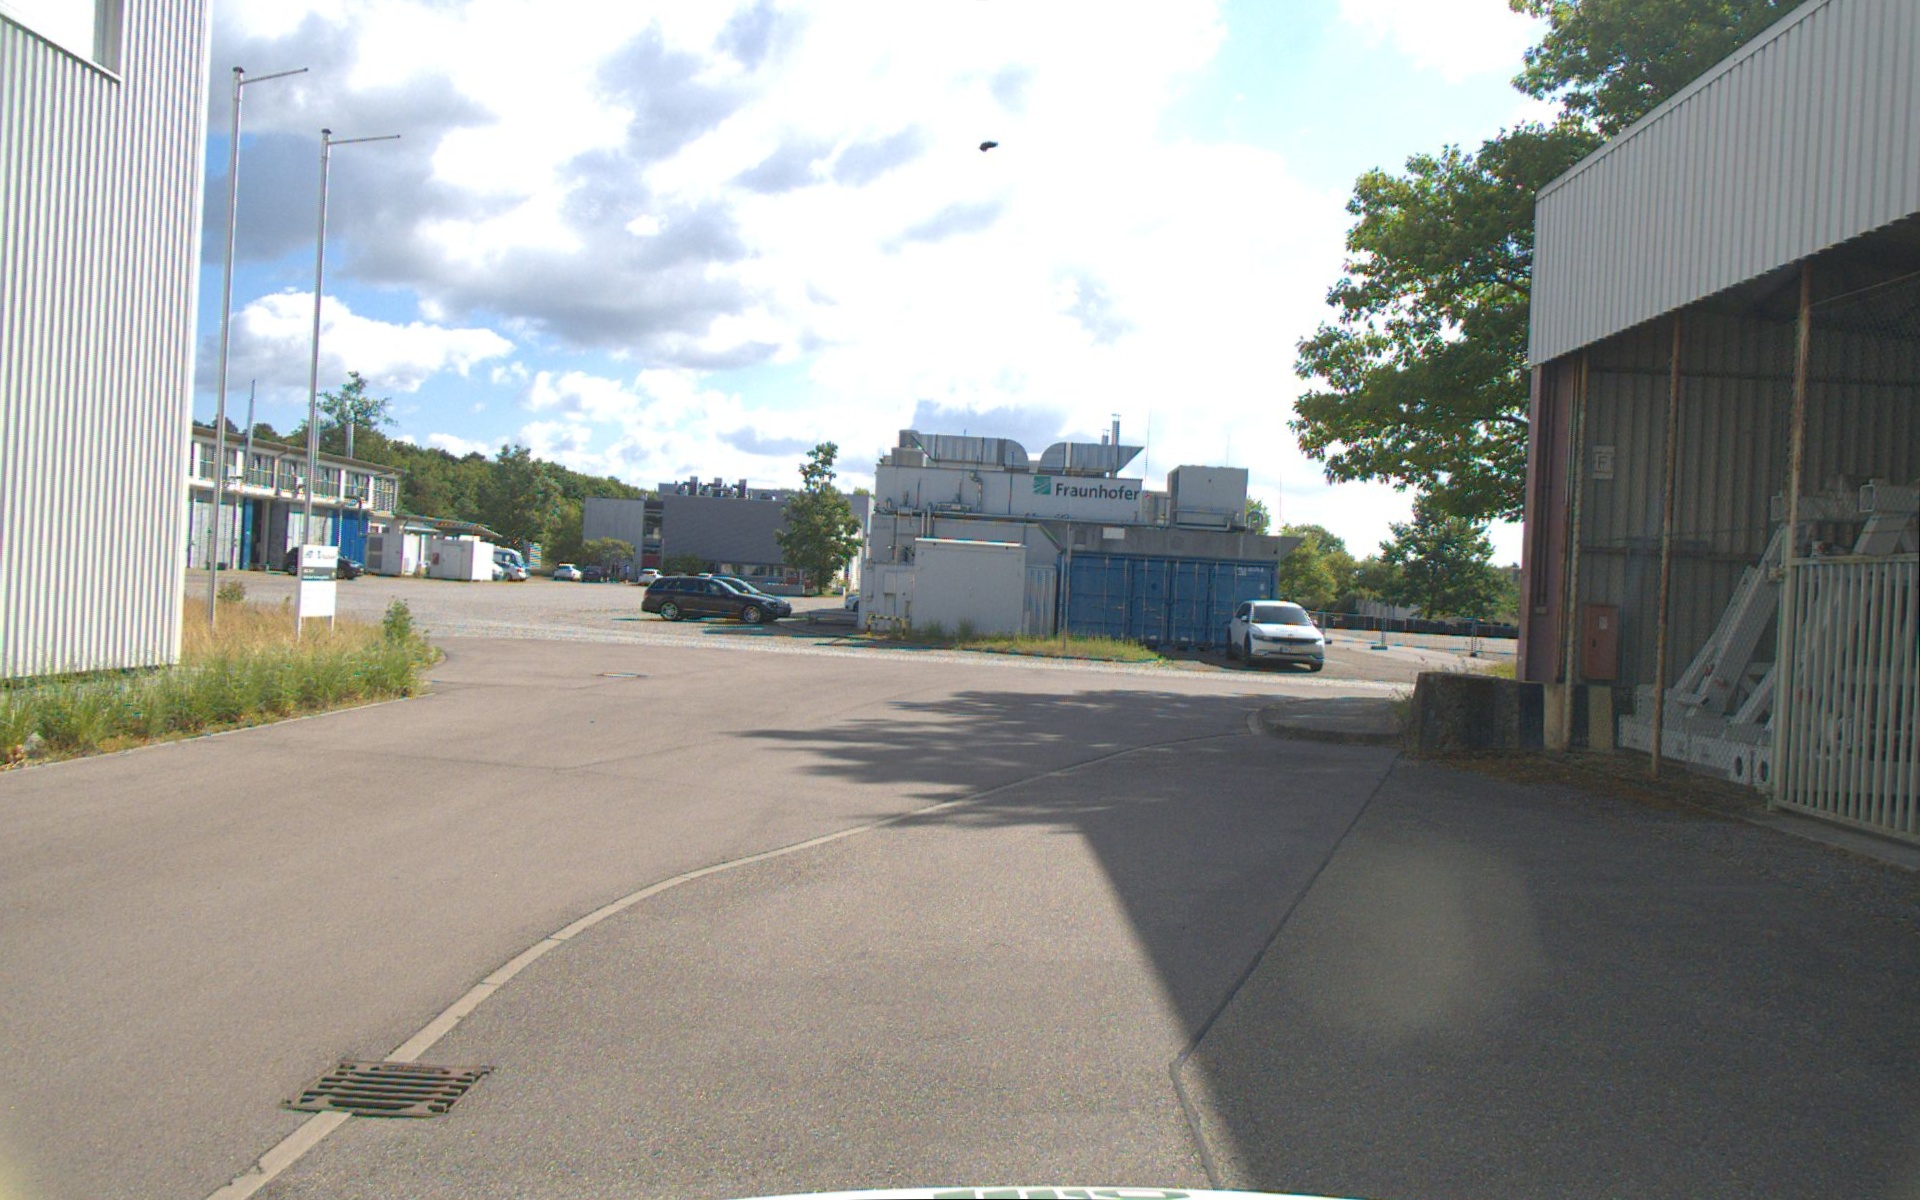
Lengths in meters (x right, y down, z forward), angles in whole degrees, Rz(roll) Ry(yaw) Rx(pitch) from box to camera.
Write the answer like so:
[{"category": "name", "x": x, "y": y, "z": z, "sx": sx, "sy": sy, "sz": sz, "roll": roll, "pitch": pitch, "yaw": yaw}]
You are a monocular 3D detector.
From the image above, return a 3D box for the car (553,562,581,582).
[{"category": "car", "x": -36.006, "y": -2.553, "z": 151.716, "sx": 1.810, "sy": 1.697, "sz": 4.130, "roll": 1, "pitch": 0, "yaw": -4}]

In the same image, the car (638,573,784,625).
[{"category": "car", "x": -8.201, "y": -0.030, "z": 54.761, "sx": 4.437, "sy": 1.468, "sz": 1.987, "roll": 3, "pitch": -1, "yaw": 1}]

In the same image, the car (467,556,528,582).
[{"category": "car", "x": -35.018, "y": -2.327, "z": 125.251, "sx": 4.024, "sy": 1.659, "sz": 1.809, "roll": 3, "pitch": 0, "yaw": 5}]

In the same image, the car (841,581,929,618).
[{"category": "car", "x": -3.718, "y": -0.017, "z": 82.490, "sx": 4.191, "sy": 1.596, "sz": 1.987, "roll": 3, "pitch": -1, "yaw": 1}]

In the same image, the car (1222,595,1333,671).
[{"category": "car", "x": 8.012, "y": 0.789, "z": 42.092, "sx": 1.940, "sy": 1.621, "sz": 4.341, "roll": 3, "pitch": 1, "yaw": 0}]

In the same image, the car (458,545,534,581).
[{"category": "car", "x": -35.928, "y": -2.844, "z": 128.197, "sx": 5.148, "sy": 2.484, "sz": 2.051, "roll": 3, "pitch": 0, "yaw": 5}]

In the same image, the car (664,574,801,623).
[{"category": "car", "x": -7.937, "y": -0.038, "z": 58.018, "sx": 4.437, "sy": 1.468, "sz": 1.904, "roll": 3, "pitch": -1, "yaw": 1}]

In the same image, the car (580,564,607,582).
[{"category": "car", "x": -33.605, "y": -2.439, "z": 151.587, "sx": 1.840, "sy": 1.564, "sz": 4.032, "roll": 1, "pitch": 0, "yaw": -4}]

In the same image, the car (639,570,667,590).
[{"category": "car", "x": -28.158, "y": -1.850, "z": 151.809, "sx": 1.839, "sy": 1.719, "sz": 4.034, "roll": 1, "pitch": 0, "yaw": -2}]

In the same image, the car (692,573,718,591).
[{"category": "car", "x": -23.364, "y": -1.679, "z": 151.859, "sx": 1.839, "sy": 1.564, "sz": 4.034, "roll": 1, "pitch": 0, "yaw": -2}]

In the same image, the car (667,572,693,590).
[{"category": "car", "x": -25.647, "y": -1.723, "z": 151.647, "sx": 1.839, "sy": 1.564, "sz": 4.034, "roll": 1, "pitch": 0, "yaw": -2}]

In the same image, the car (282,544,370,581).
[{"category": "car", "x": -35.166, "y": -2.084, "z": 91.809, "sx": 4.078, "sy": 1.694, "sz": 1.783, "roll": 5, "pitch": 0, "yaw": -1}]
